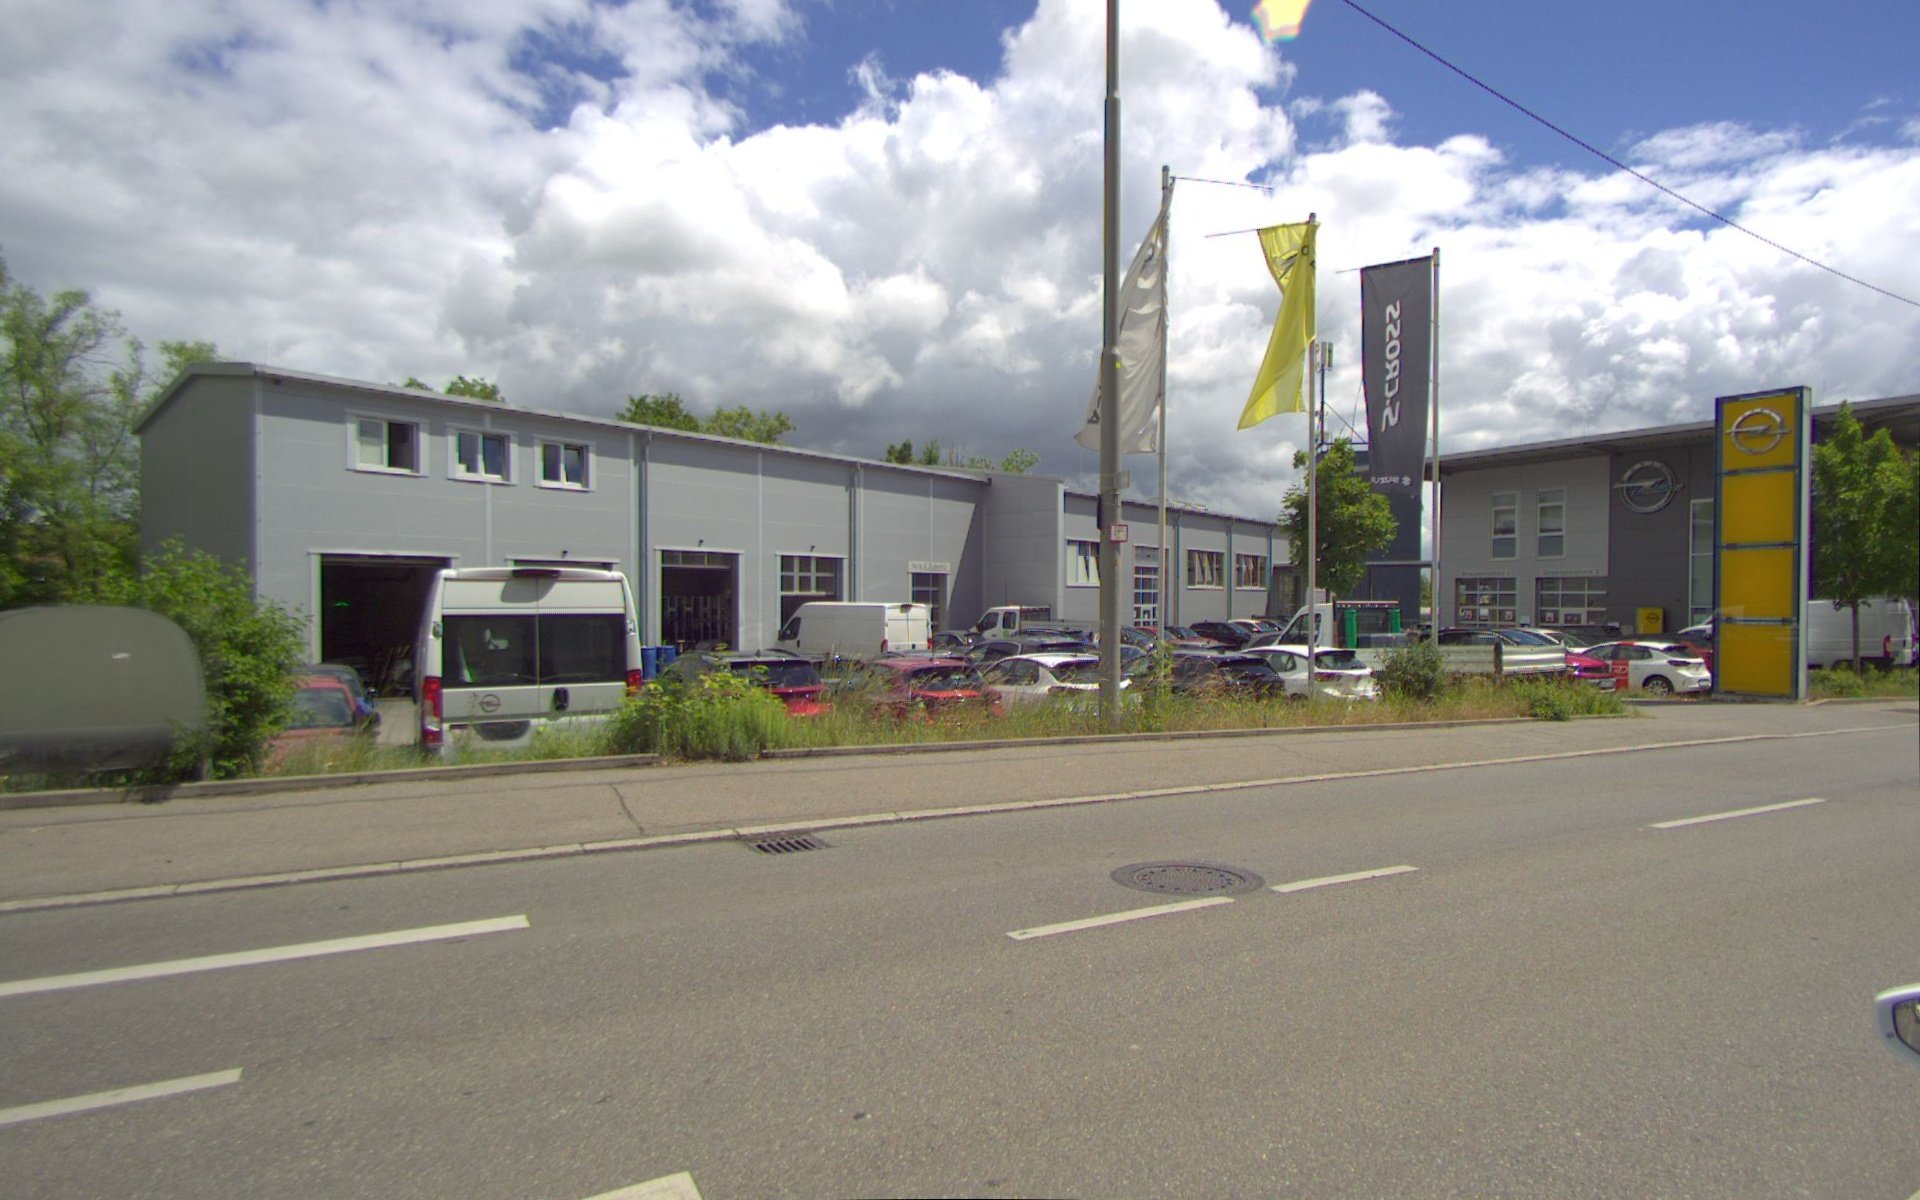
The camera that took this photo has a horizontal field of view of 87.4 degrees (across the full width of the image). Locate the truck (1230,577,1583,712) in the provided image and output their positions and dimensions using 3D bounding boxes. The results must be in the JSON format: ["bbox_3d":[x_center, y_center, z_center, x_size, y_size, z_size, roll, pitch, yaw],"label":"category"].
[{"bbox_3d":[8.264,0.795,19.299,2.450,2.176,5.829,3,-2,-32],"label":"truck"}]

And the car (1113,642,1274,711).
[{"bbox_3d":[5.532,1.787,24.183,1.626,1.346,3.805,2,-1,-29],"label":"car"}]

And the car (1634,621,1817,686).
[{"bbox_3d":[23.015,1.550,30.375,1.972,1.729,3.976,0,0,-24],"label":"car"}]

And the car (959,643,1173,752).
[{"bbox_3d":[1.523,1.425,15.672,1.688,1.342,3.534,2,-1,-26],"label":"car"}]

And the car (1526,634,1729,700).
[{"bbox_3d":[17.304,1.685,26.234,1.977,1.428,3.967,2,-1,-30],"label":"car"}]

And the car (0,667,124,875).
[{"bbox_3d":[-8.931,1.400,8.580,1.905,1.404,4.016,2,-1,-28],"label":"car"}]

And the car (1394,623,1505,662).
[{"bbox_3d":[19.923,1.698,40.986,1.828,1.417,3.672,0,0,-34],"label":"car"}]

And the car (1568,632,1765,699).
[{"bbox_3d":[19.226,1.720,27.517,1.974,1.511,3.973,0,0,-26],"label":"car"}]

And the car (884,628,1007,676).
[{"bbox_3d":[-0.552,1.808,36.086,4.178,1.428,1.919,1,1,40],"label":"car"}]

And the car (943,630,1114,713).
[{"bbox_3d":[1.329,1.421,20.843,1.814,1.428,3.664,2,-1,-29],"label":"car"}]

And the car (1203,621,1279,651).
[{"bbox_3d":[14.416,1.818,51.583,3.429,1.417,1.653,0,0,43],"label":"car"}]

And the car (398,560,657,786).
[{"bbox_3d":[-5.067,0.652,11.411,2.174,2.040,4.138,0,0,-31],"label":"car"}]

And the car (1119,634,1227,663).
[{"bbox_3d":[9.181,2.085,43.402,4.228,1.037,1.787,1,-1,37],"label":"car"}]

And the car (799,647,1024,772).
[{"bbox_3d":[-0.877,1.516,14.965,1.903,1.404,4.020,2,-1,-26],"label":"car"}]

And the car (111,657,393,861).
[{"bbox_3d":[-6.932,1.401,10.219,1.907,1.404,4.012,3,-1,-31],"label":"car"}]

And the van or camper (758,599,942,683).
[{"bbox_3d":[-3.522,1.162,31.254,5.817,2.387,2.489,0,0,42],"label":"van or camper"}]

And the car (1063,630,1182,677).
[{"bbox_3d":[6.382,2.076,39.641,4.174,1.603,1.921,1,-1,37],"label":"car"}]

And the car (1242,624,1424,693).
[{"bbox_3d":[9.238,1.434,25.202,1.805,1.542,4.061,0,-2,-30],"label":"car"}]

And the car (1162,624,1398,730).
[{"bbox_3d":[5.751,1.327,18.487,1.905,1.631,3.867,2,-1,-29],"label":"car"}]

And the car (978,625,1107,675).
[{"bbox_3d":[2.912,1.750,35.824,4.175,1.516,1.921,1,-1,38],"label":"car"}]

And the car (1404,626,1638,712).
[{"bbox_3d":[11.633,1.403,21.125,1.732,1.609,3.971,0,-3,-28],"label":"car"}]

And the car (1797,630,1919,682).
[{"bbox_3d":[29.691,1.792,31.880,4.387,1.529,1.944,1,-1,19],"label":"car"}]

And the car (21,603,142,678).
[{"bbox_3d":[-22.341,0.955,25.501,4.114,1.751,1.833,0,-1,42],"label":"car"}]

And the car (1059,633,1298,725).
[{"bbox_3d":[3.505,1.239,16.721,1.905,1.227,3.700,3,-1,-29],"label":"car"}]

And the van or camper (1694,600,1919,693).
[{"bbox_3d":[25.806,1.301,30.648,2.290,2.565,5.003,0,0,-30],"label":"van or camper"}]

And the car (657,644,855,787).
[{"bbox_3d":[-2.727,1.364,12.886,1.704,1.428,3.326,2,-1,-26],"label":"car"}]

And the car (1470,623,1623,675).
[{"bbox_3d":[20.235,1.662,34.823,1.906,1.556,4.208,2,-1,-30],"label":"car"}]

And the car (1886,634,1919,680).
[{"bbox_3d":[34.022,1.904,33.422,4.738,1.470,1.900,0,0,-2],"label":"car"}]

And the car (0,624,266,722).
[{"bbox_3d":[-16.573,1.353,19.518,4.854,1.751,1.829,1,-1,-28],"label":"car"}]

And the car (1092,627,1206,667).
[{"bbox_3d":[7.791,1.922,41.549,4.174,1.428,1.921,1,-1,37],"label":"car"}]

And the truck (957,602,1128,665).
[{"bbox_3d":[3.136,1.262,39.135,6.219,2.258,2.689,0,-2,41],"label":"truck"}]
